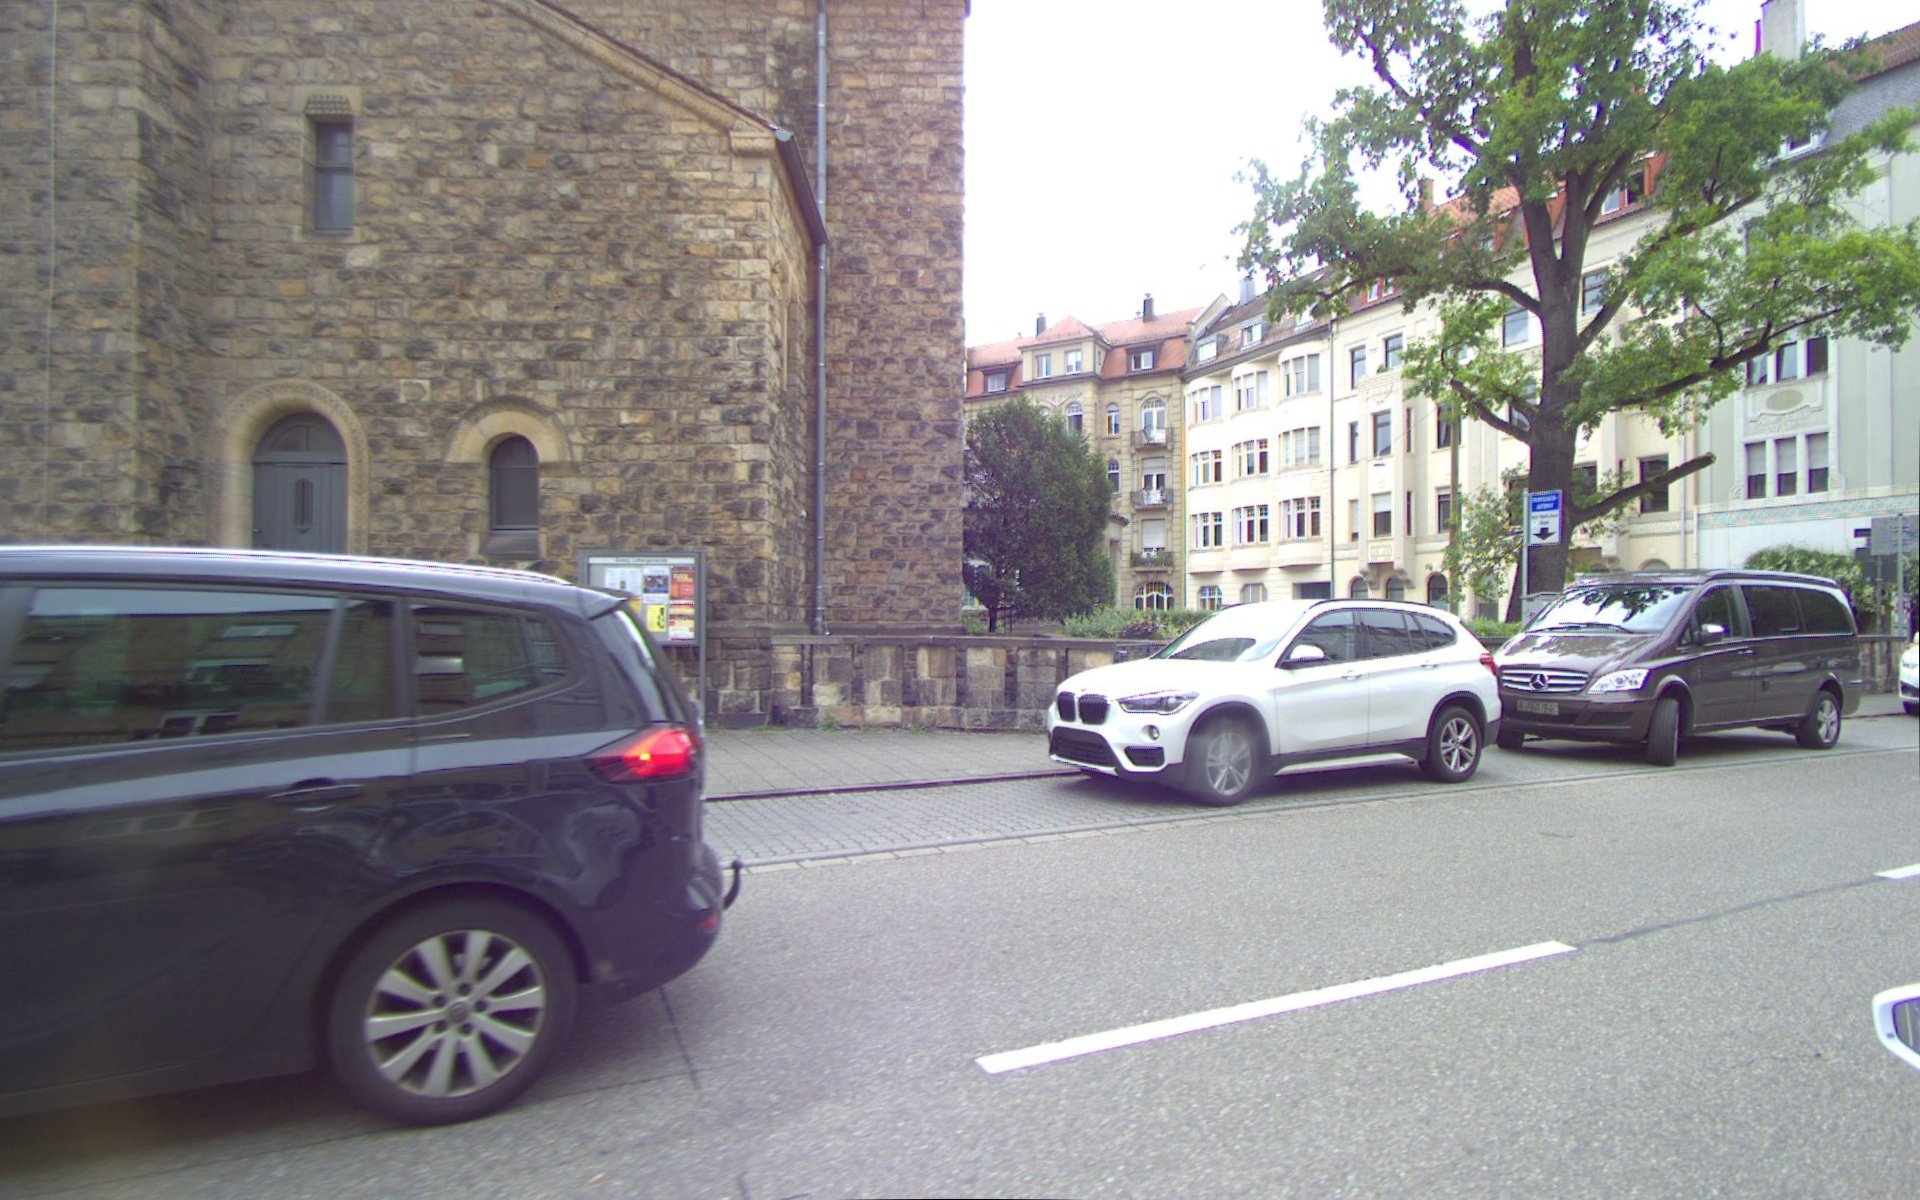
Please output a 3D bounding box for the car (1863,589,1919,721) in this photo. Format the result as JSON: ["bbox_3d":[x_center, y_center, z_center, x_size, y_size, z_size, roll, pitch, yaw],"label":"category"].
[{"bbox_3d":[16.402,0.827,15.625,4.484,1.965,1.839,0,-1,-24],"label":"car"}]

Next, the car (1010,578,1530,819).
[{"bbox_3d":[2.798,0.729,8.951,4.373,1.711,1.837,0,-1,-26],"label":"car"}]

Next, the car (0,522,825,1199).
[{"bbox_3d":[-2.850,0.682,3.187,4.486,1.706,1.839,0,-1,-25],"label":"car"}]

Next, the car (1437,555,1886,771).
[{"bbox_3d":[8.087,0.638,11.513,5.114,2.040,2.007,1,-1,-26],"label":"car"}]
